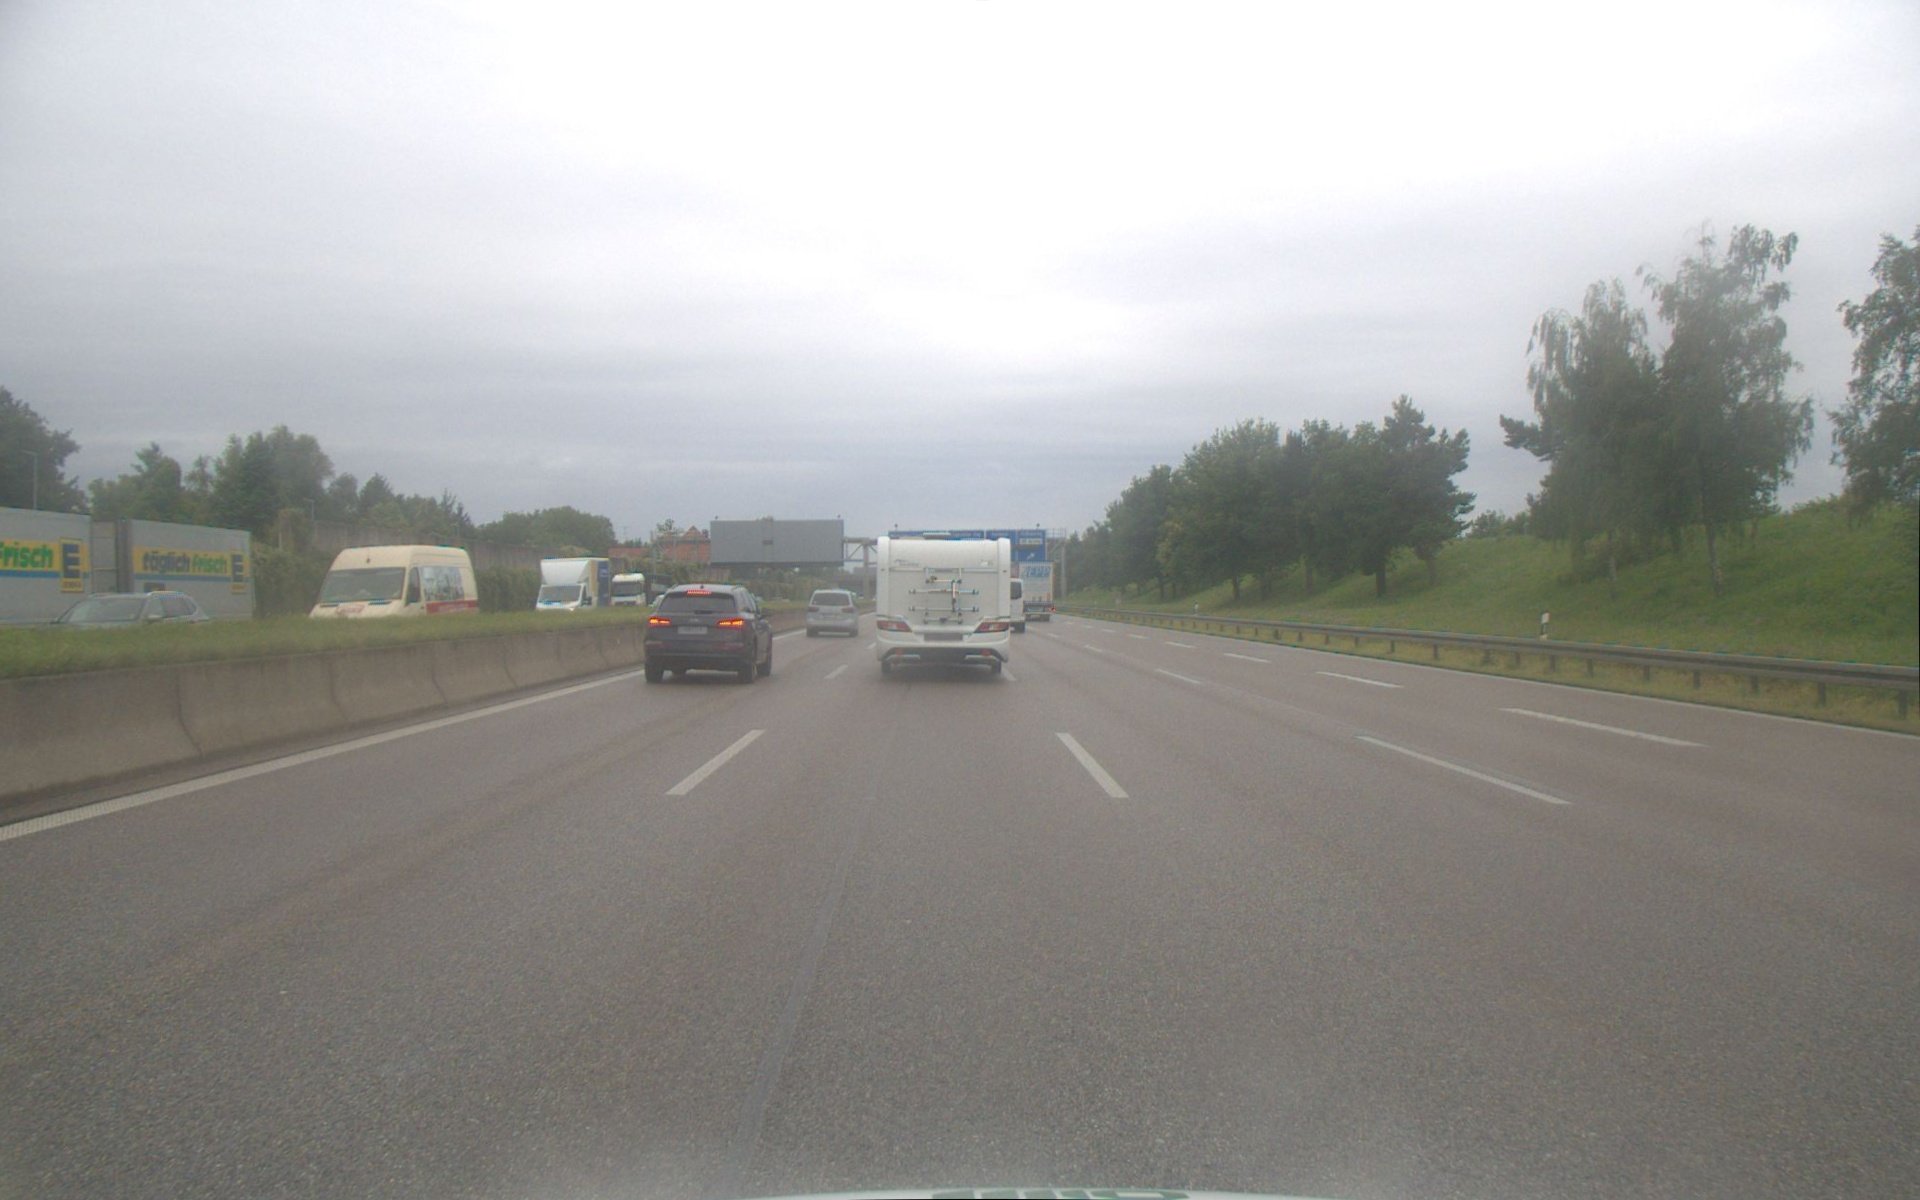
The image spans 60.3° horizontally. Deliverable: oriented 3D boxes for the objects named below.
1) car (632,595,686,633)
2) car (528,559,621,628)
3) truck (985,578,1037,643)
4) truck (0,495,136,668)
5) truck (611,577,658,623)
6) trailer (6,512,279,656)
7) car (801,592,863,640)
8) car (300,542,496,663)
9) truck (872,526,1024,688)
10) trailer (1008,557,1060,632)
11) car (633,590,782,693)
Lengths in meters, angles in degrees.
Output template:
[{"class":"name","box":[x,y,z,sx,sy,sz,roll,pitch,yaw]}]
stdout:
[{"class":"car","box":[-14.019,0.640,77.198,1.785,1.691,4.148,1,0,-1]},{"class":"car","box":[-16.511,-0.251,71.235,2.274,2.782,7.314,1,0,0]},{"class":"truck","box":[2.304,0.495,75.929,2.012,2.818,5.547,1,0,-2]},{"class":"truck","box":[-19.609,-0.390,30.760,2.825,3.277,11.357,1,0,0]},{"class":"truck","box":[-24.858,0.034,126.498,2.268,3.330,6.581,1,0,0]},{"class":"trailer","box":[-19.656,-0.324,40.438,2.721,3.131,7.871,1,0,0]},{"class":"car","box":[-4.766,0.582,61.974,2.085,1.736,4.111,1,0,-2]},{"class":"car","box":[-12.496,0.078,37.392,2.017,2.427,7.321,1,0,-1]},{"class":"truck","box":[-0.268,0.140,31.482,2.607,2.790,5.076,1,0,-2]},{"class":"trailer","box":[5.177,-0.347,118.006,3.036,5.008,11.789,1,0,0]},{"class":"car","box":[-4.395,0.695,29.559,1.953,1.628,5.121,1,0,-2]}]
